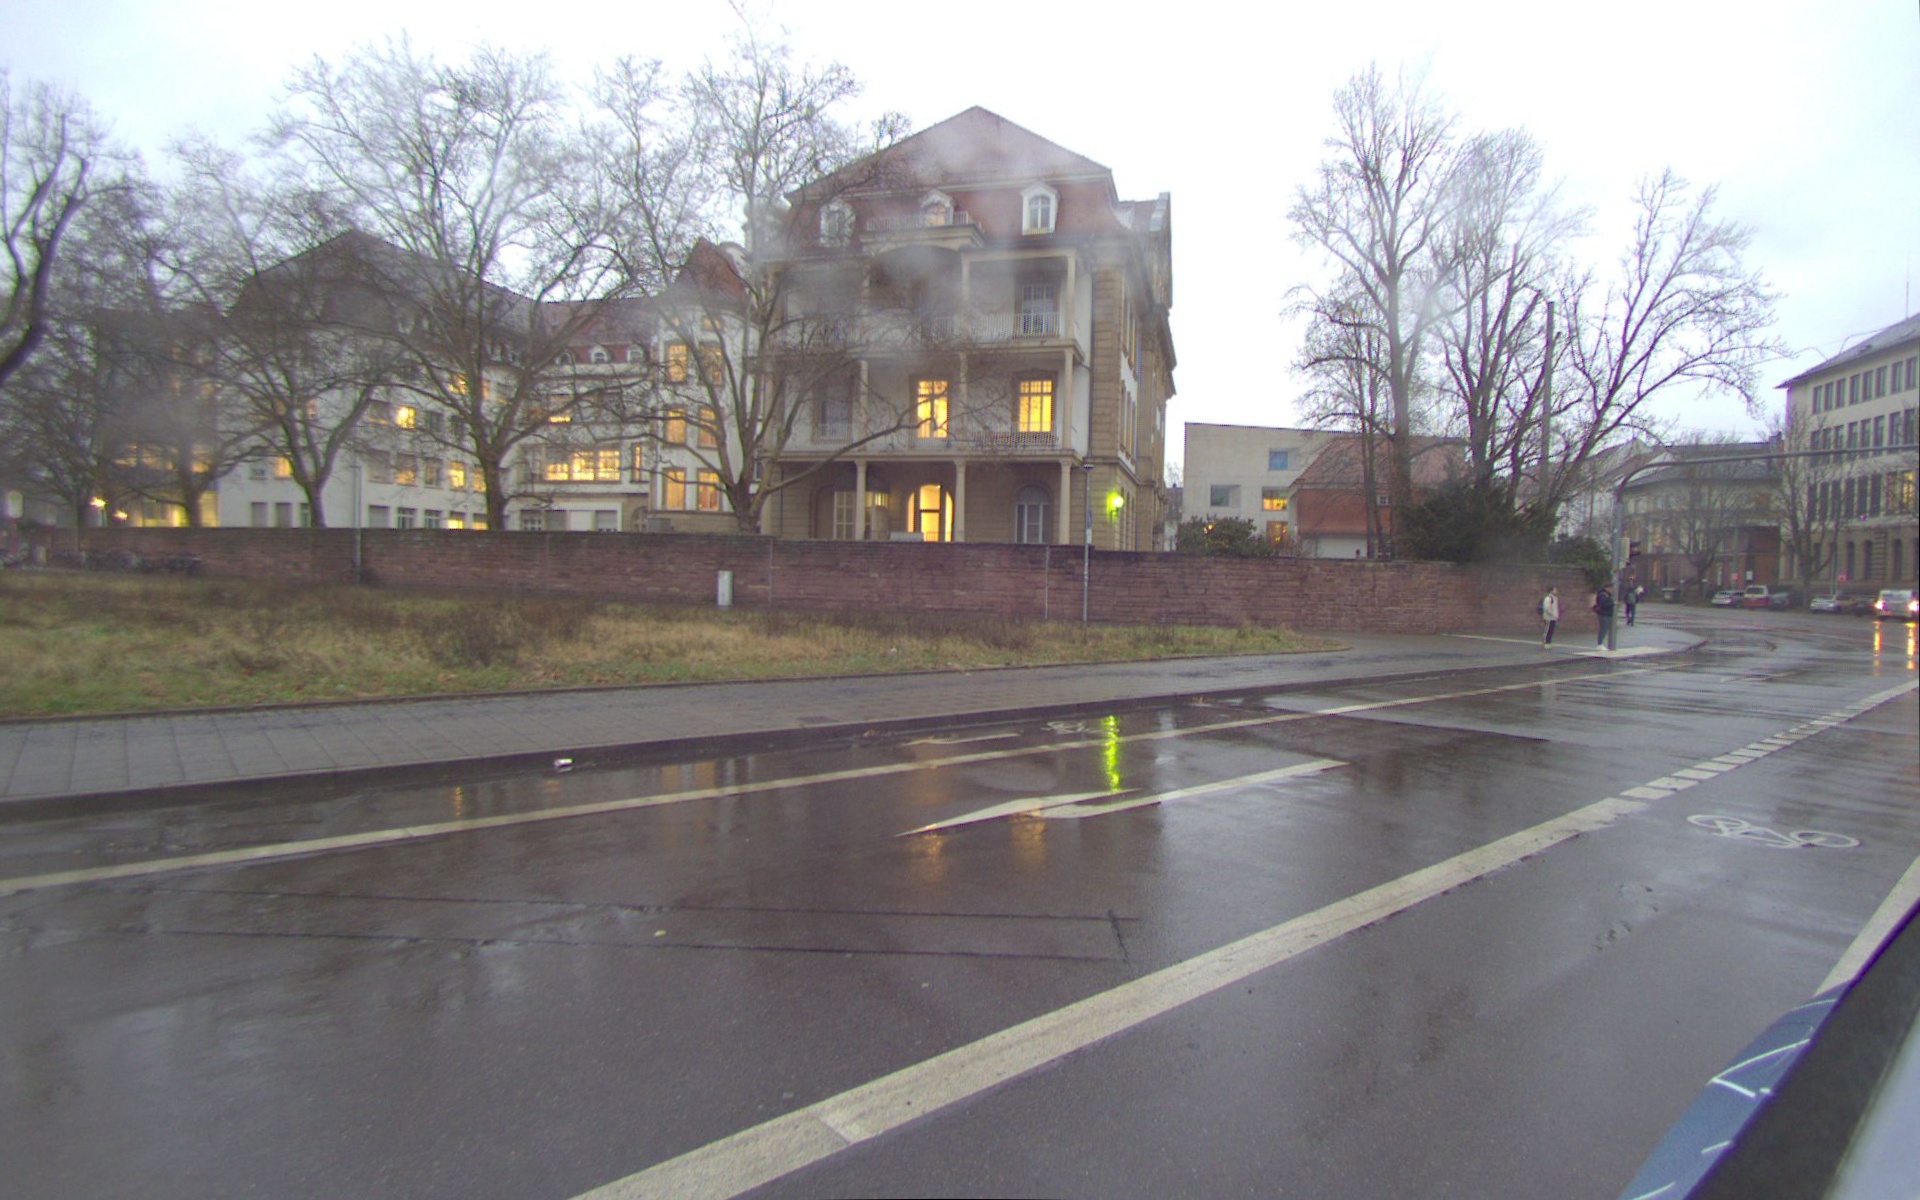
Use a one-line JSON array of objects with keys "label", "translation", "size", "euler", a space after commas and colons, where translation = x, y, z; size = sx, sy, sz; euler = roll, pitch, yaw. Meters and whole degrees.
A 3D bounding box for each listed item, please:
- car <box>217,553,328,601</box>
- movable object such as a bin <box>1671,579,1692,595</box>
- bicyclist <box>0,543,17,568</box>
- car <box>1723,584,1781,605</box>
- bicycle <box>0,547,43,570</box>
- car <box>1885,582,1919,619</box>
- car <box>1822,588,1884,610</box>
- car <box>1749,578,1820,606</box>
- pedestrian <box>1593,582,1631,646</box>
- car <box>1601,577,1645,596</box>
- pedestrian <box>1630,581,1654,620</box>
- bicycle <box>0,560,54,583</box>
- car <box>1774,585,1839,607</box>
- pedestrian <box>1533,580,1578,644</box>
[{"label": "car", "translation": [-15.584, -0.548, 23.057], "size": [1.275, 0.989, 2.688], "euler": [2, 2, -16]}, {"label": "movable object such as a bin", "translation": [69.305, -1.240, 97.171], "size": [0.966, 1.482, 1.347], "euler": [-2, 2, -22]}, {"label": "bicyclist", "translation": [-41.759, -1.936, 44.282], "size": [0.689, 1.093, 0.494], "euler": [-2, 2, -40]}, {"label": "car", "translation": [67.046, -0.460, 85.673], "size": [4.097, 1.610, 1.779], "euler": [-1, 2, -14]}, {"label": "bicycle", "translation": [-42.255, -1.849, 44.819], "size": [2.371, 1.003, 0.537], "euler": [-3, 2, -41]}, {"label": "car", "translation": [58.698, -0.015, 61.463], "size": [4.704, 2.058, 1.917], "euler": [-2, 2, -22]}, {"label": "car", "translation": [63.779, -0.076, 72.297], "size": [3.746, 1.475, 1.641], "euler": [-2, 2, -18]}, {"label": "car", "translation": [65.122, -0.674, 79.936], "size": [4.526, 2.079, 1.970], "euler": [-1, 2, -12]}, {"label": "pedestrian", "translation": [18.194, 0.377, 28.236], "size": [0.788, 1.696, 0.720], "euler": [4, 3, 37]}, {"label": "car", "translation": [57.363, -1.186, 87.621], "size": [1.727, 1.395, 4.348], "euler": [3, 3, 14]}, {"label": "pedestrian", "translation": [31.158, 0.004, 46.231], "size": [0.802, 1.705, 1.143], "euler": [4, 2, 33]}, {"label": "bicycle", "translation": [-41.553, -1.256, 44.606], "size": [2.371, 1.003, 0.479], "euler": [-3, 2, -41]}, {"label": "car", "translation": [64.485, -0.297, 77.109], "size": [3.894, 1.558, 1.828], "euler": [-1, 2, -12]}, {"label": "pedestrian", "translation": [16.560, 0.318, 28.177], "size": [0.953, 1.696, 0.772], "euler": [3, 2, 28]}]
